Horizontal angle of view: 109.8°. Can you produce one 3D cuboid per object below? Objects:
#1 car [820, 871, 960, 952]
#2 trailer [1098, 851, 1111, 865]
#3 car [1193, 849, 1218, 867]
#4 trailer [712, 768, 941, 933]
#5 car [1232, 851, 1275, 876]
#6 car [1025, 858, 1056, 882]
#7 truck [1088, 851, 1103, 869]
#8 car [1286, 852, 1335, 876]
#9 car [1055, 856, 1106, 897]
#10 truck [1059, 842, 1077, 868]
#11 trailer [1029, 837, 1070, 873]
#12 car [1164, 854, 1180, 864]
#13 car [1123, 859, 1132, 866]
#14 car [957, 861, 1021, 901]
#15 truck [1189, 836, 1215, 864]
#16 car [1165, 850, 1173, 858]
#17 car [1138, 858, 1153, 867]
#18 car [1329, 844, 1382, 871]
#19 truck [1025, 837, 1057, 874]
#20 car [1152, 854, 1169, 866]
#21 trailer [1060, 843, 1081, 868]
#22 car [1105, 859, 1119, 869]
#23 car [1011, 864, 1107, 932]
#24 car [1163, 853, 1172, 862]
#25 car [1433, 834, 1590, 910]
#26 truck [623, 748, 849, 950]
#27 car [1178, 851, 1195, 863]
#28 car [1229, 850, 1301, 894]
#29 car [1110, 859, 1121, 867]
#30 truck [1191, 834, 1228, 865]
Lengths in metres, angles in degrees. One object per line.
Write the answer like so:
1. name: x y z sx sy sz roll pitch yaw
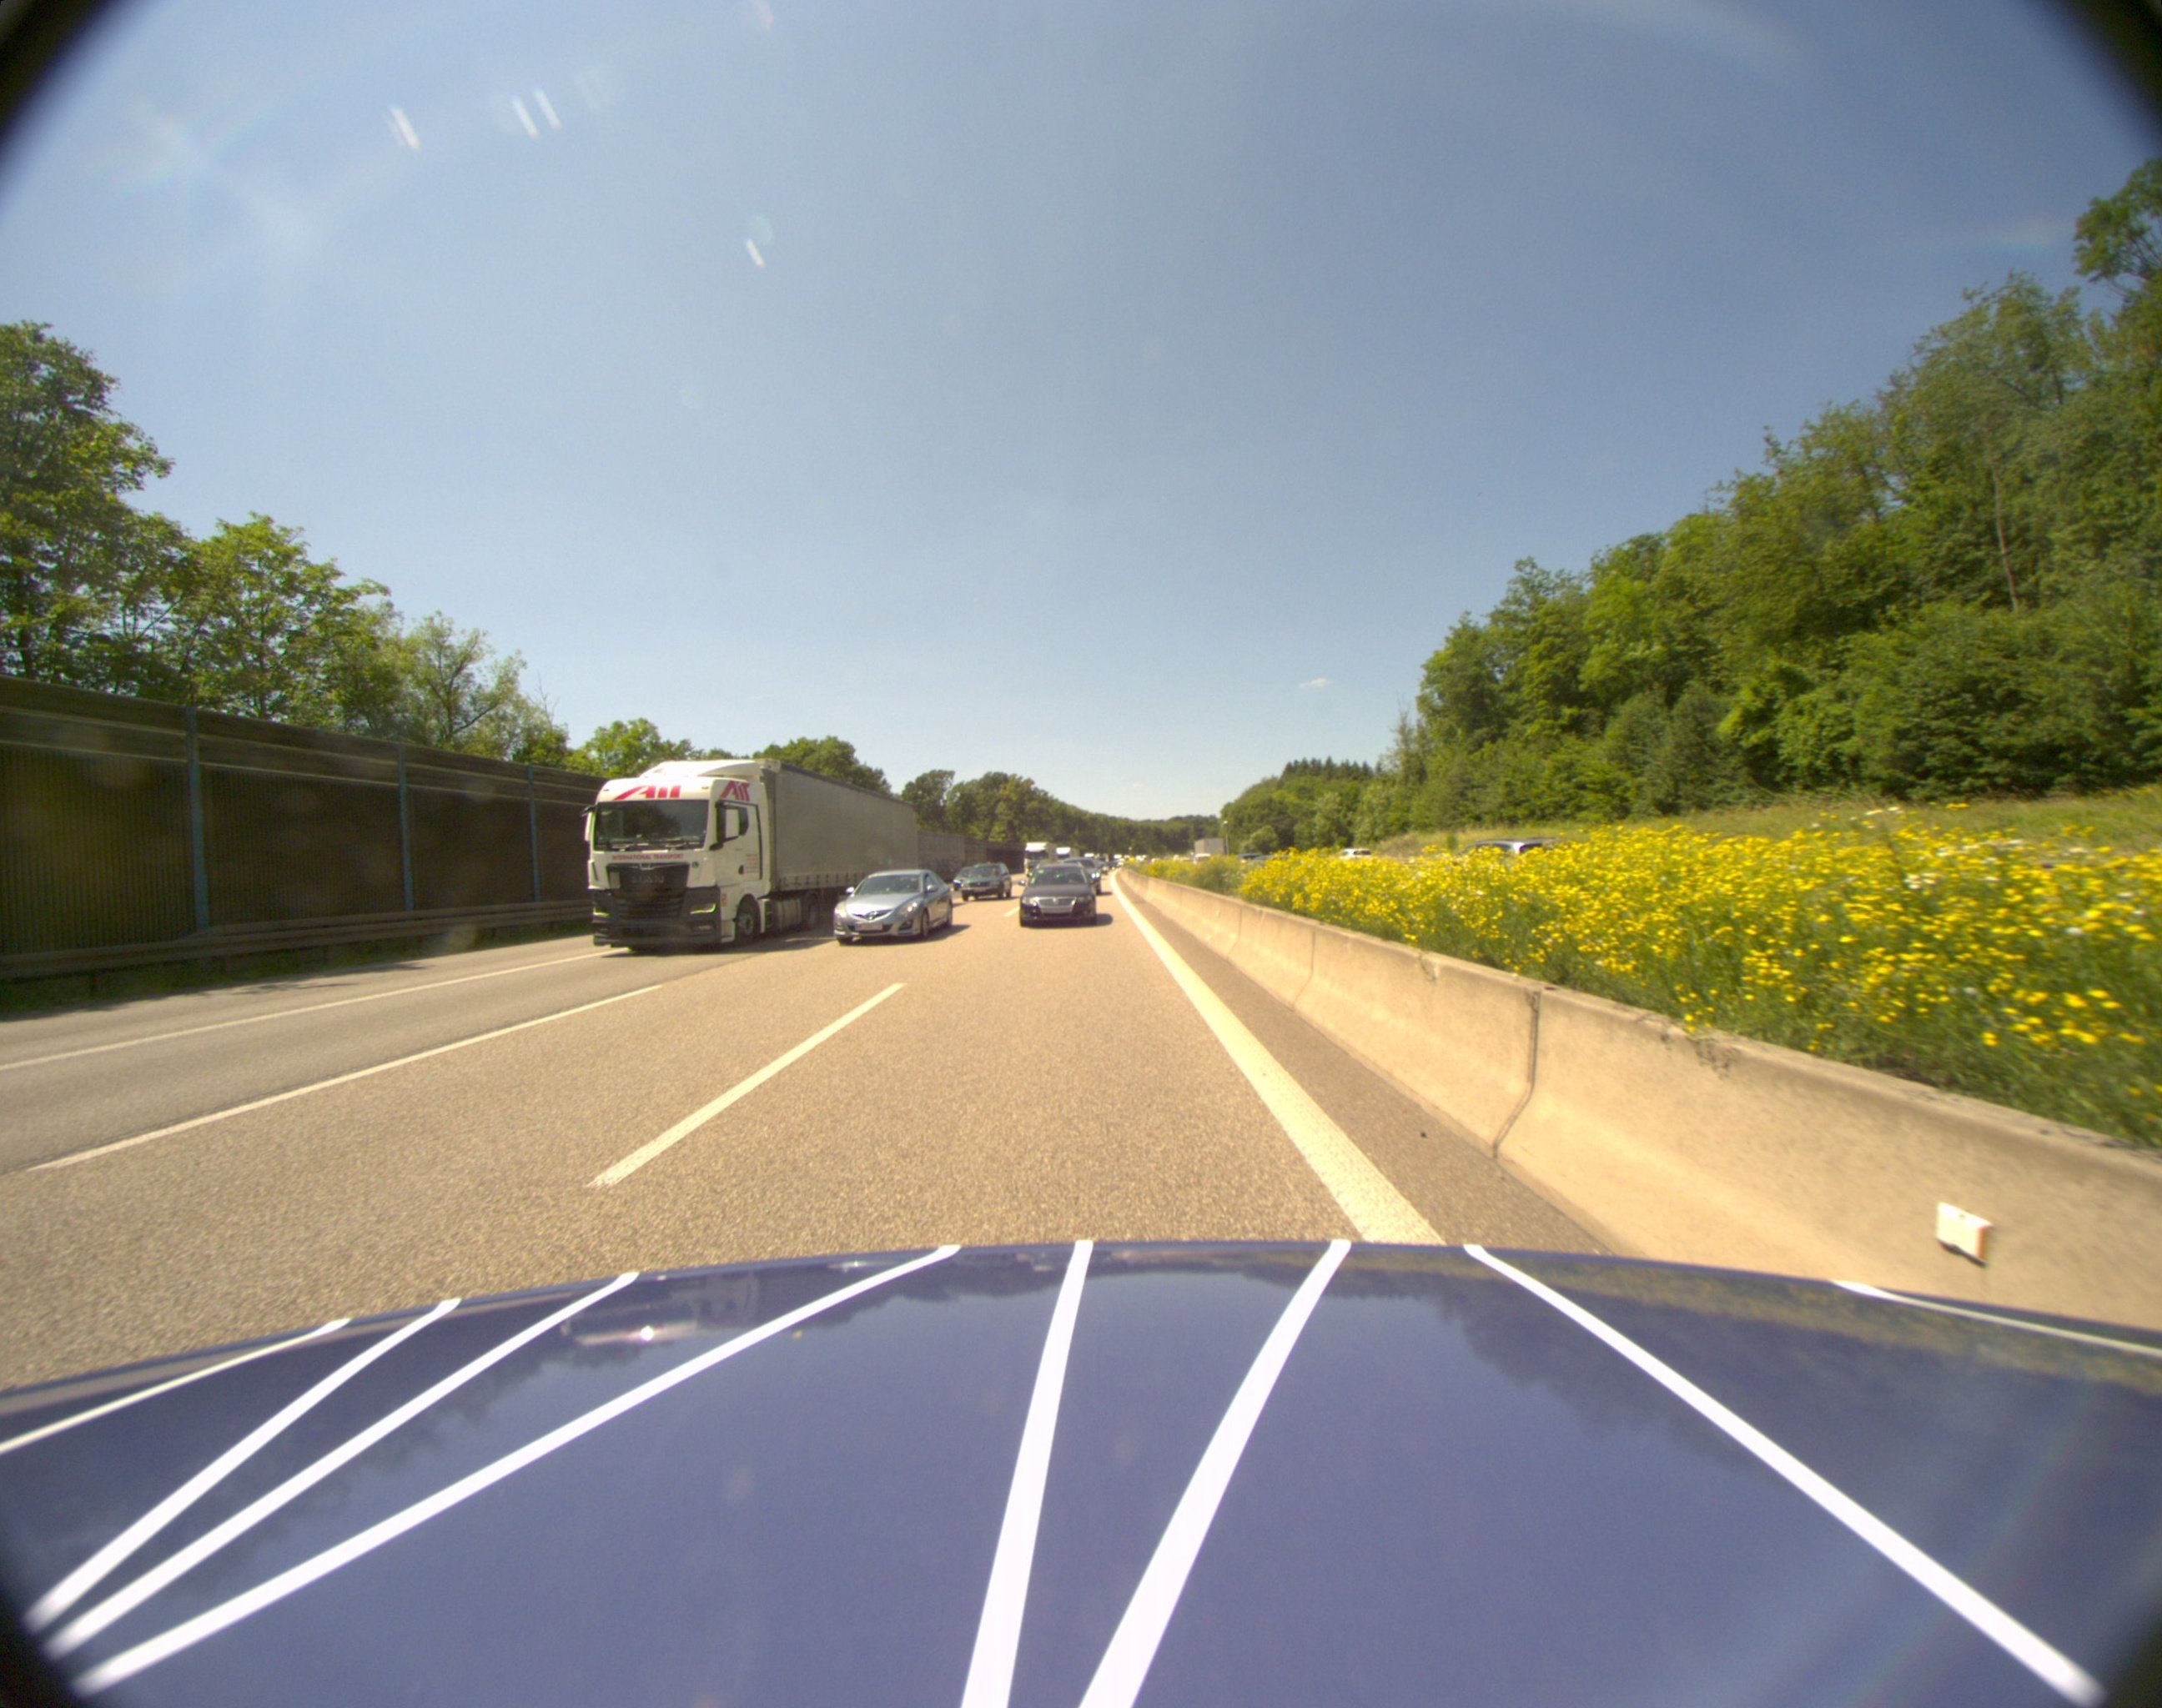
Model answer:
1. car: -3.983 1.143 16.585 1.860 1.425 4.177 -2 -1 1
2. trailer: 7.087 1.173 225.314 3.154 4.060 6.186 -2 0 8
3. car: 12.761 0.392 78.353 1.889 1.745 4.277 -2 0 1
4. trailer: -7.655 -0.085 25.866 2.604 4.066 13.593 -2 0 2
5. car: 11.723 0.602 51.847 1.998 1.563 4.065 -2 0 1
6. car: -3.024 1.193 57.759 1.998 1.641 4.000 -2 0 2
7. truck: 3.627 1.532 188.678 2.852 4.381 5.243 -2 0 8
8. car: 14.982 0.627 49.822 1.998 1.435 4.007 -2 0 1
9. car: 0.027 0.942 33.894 1.998 1.641 4.001 -2 0 3
10. truck: -2.165 0.192 131.451 2.545 4.149 4.747 -2 0 4
11. trailer: -3.918 0.170 98.525 2.820 4.189 13.473 -2 -1 8
12. car: 14.082 0.786 117.960 1.998 1.489 4.248 -2 0 1
13. car: 10.967 2.031 179.343 1.997 1.641 4.002 -2 0 7
14. car: -3.872 1.117 32.663 1.907 1.550 4.002 -2 -1 4
15. truck: 17.622 -0.553 111.200 2.836 3.916 6.007 -2 0 0
16. car: 29.365 -0.005 254.067 2.221 2.685 6.064 -2 0 3
17. car: 10.430 1.333 122.980 1.998 1.333 4.248 -2 0 1
18. car: 19.134 0.241 53.255 1.998 1.682 4.767 -2 0 1
19. truck: -4.797 0.173 92.048 2.810 4.190 5.425 -2 0 8
20. car: 10.773 0.760 103.289 1.943 1.494 4.659 -2 0 1
21. trailer: -1.821 0.281 136.262 2.541 4.149 10.180 -2 -1 4
22. car: 5.182 1.658 126.845 1.997 1.641 4.002 -2 0 7
23. car: -0.416 1.004 18.775 1.907 1.410 4.002 -2 -1 4
24. car: 19.477 0.733 170.180 1.815 2.002 4.002 -2 0 8
25. car: 11.078 0.424 19.925 1.741 1.723 4.148 -2 0 0
26. truck: -7.943 -0.092 18.381 2.604 4.066 5.553 -2 0 2
27. car: 13.661 0.359 98.489 1.679 1.489 3.883 -2 0 1
28. car: 6.834 0.645 28.627 1.741 1.489 4.000 -2 0 1
29. car: 7.172 1.804 156.202 1.997 1.641 4.002 -2 0 7
30. truck: 17.532 -0.567 104.649 2.836 3.915 13.746 -2 0 1
